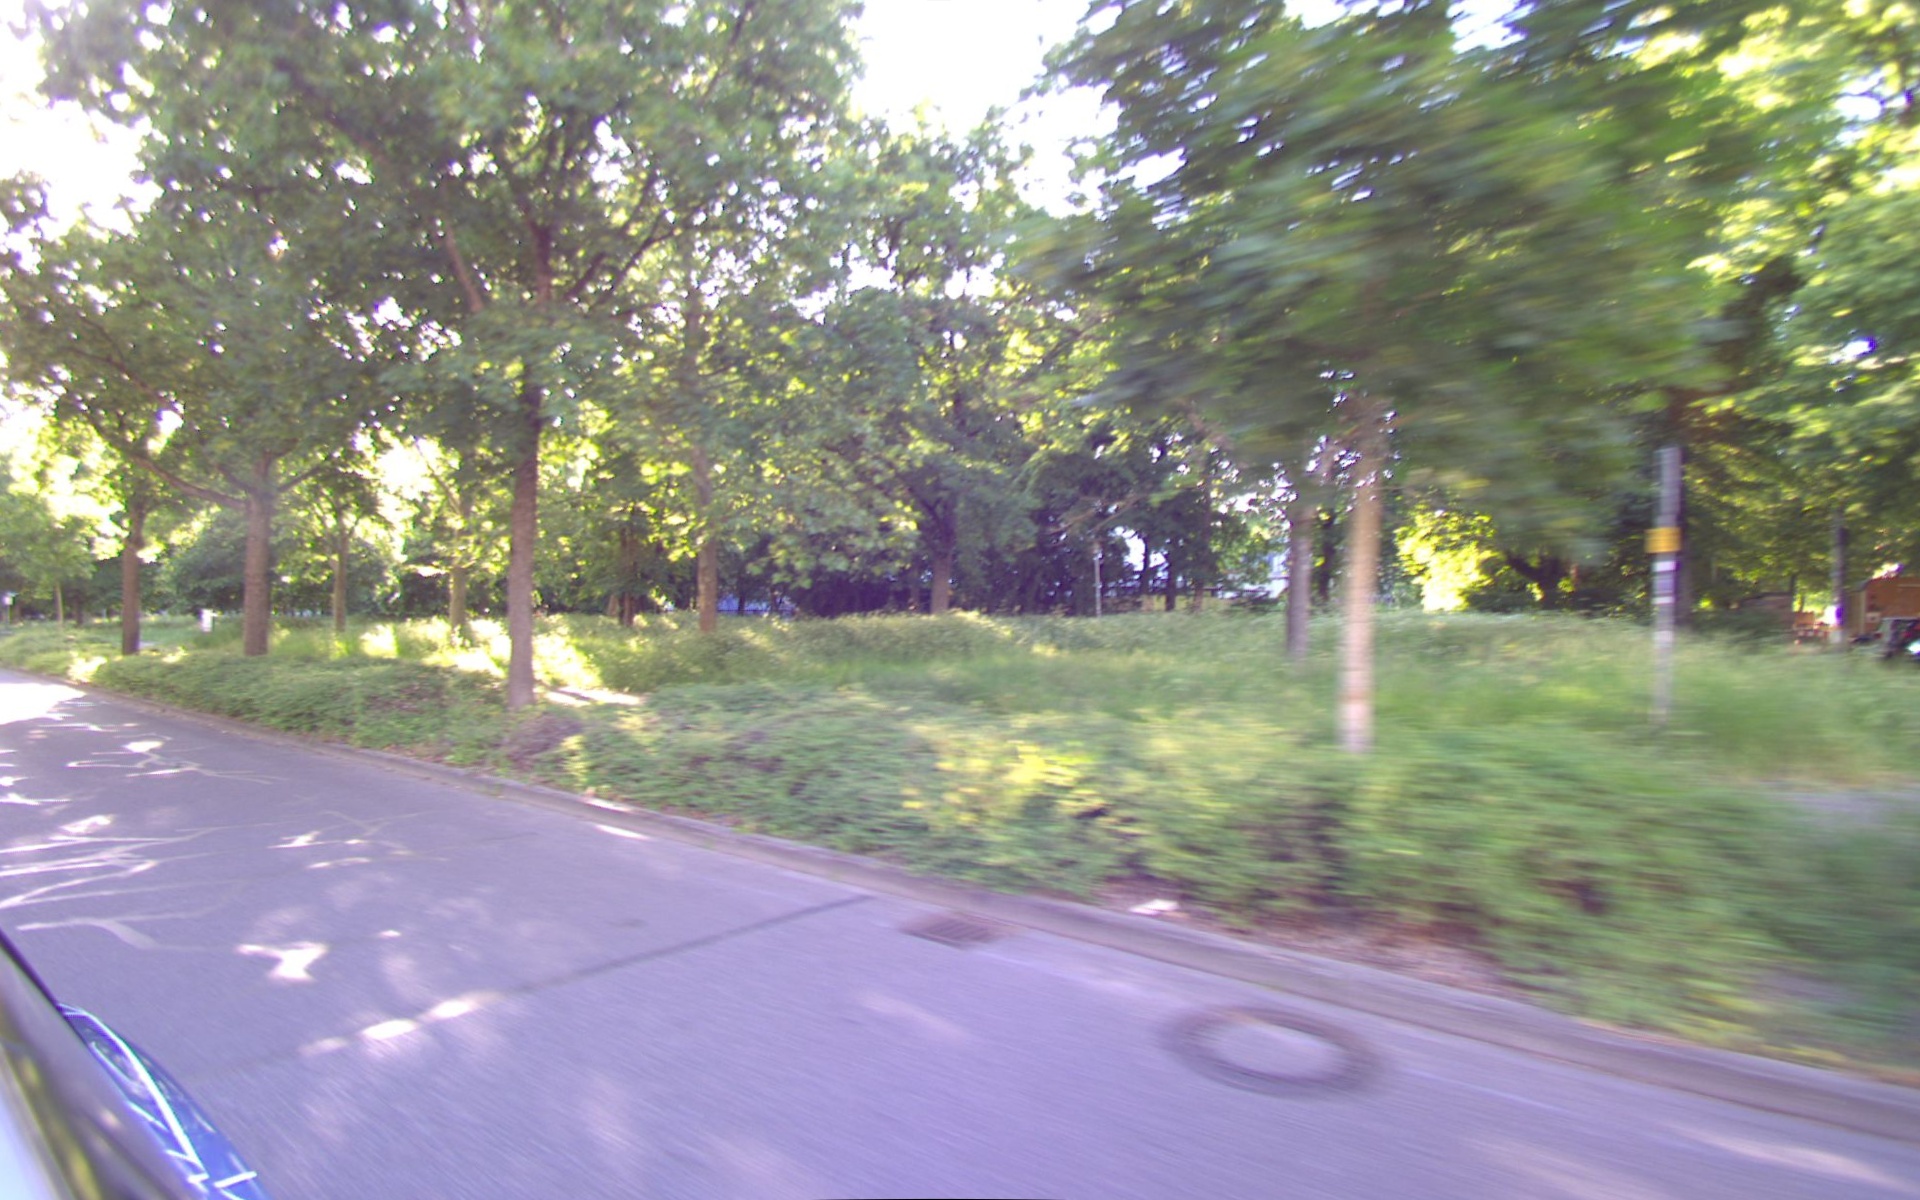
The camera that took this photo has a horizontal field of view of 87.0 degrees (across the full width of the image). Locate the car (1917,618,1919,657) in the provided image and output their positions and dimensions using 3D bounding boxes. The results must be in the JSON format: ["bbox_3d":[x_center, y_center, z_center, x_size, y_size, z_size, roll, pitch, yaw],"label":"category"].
[{"bbox_3d":[32.176,1.195,30.975,3.869,1.266,1.766,0,-1,32],"label":"car"}]

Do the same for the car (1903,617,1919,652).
[{"bbox_3d":[33.920,1.142,33.329,3.869,1.164,1.766,0,-1,32],"label":"car"}]
